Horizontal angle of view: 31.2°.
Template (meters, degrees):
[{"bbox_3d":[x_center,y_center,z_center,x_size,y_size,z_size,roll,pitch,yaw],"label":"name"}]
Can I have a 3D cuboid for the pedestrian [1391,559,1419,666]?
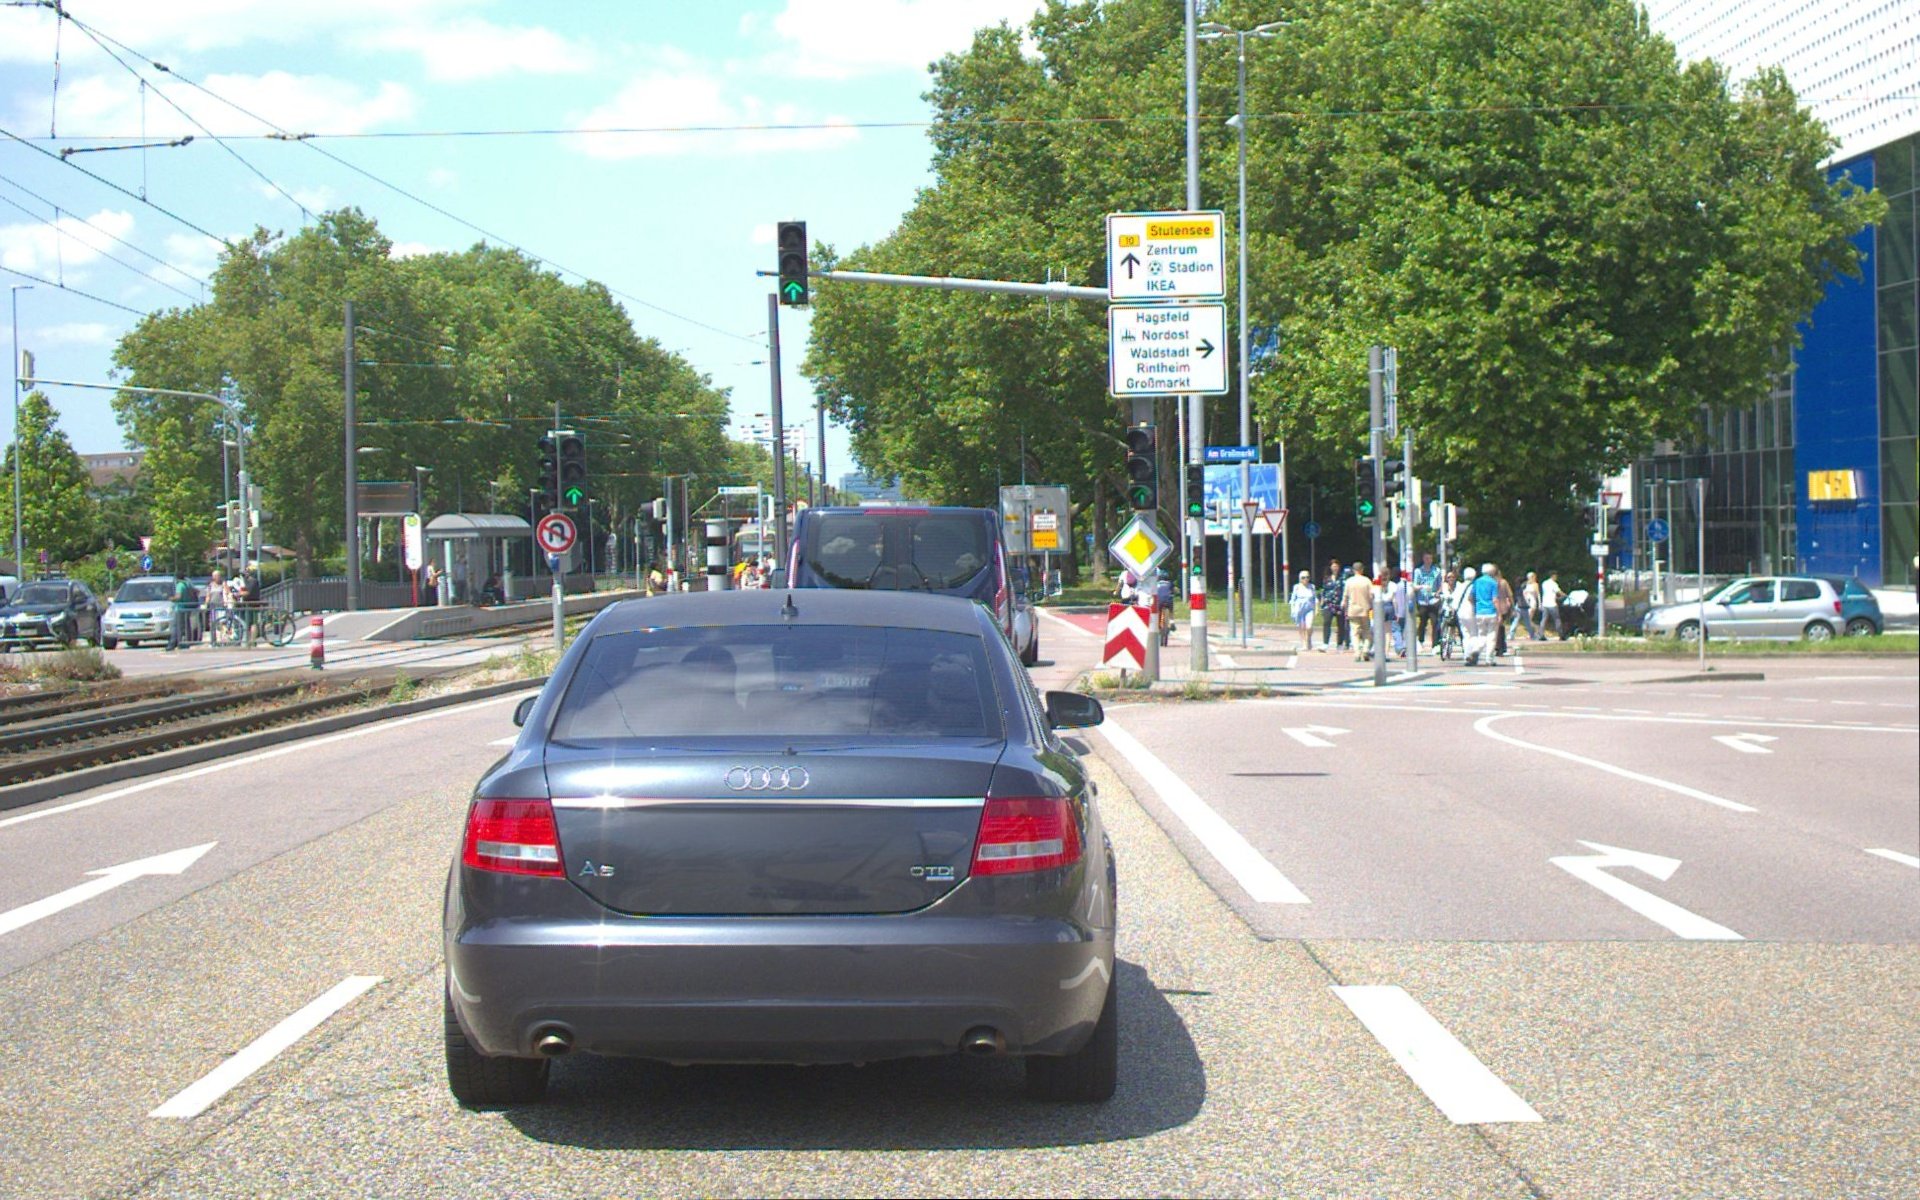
[{"bbox_3d":[6.839,0.186,52.799,0.381,1.629,0.377,0,0,3],"label":"pedestrian"}]

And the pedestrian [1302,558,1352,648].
[{"bbox_3d":[6.712,0.058,62.908,0.714,1.629,0.706,1,1,25],"label":"pedestrian"}]

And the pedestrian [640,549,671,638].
[{"bbox_3d":[-6.821,-0.146,77.037,0.685,2.007,0.573,0,0,-4],"label":"pedestrian"}]

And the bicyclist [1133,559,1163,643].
[{"bbox_3d":[3.786,0.015,69.330,0.528,1.670,1.088,0,0,0],"label":"bicyclist"}]

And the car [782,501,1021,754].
[{"bbox_3d":[-0.475,0.196,28.396,1.836,1.943,4.000,0,0,-1],"label":"car"}]

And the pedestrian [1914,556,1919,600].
[{"bbox_3d":[28.701,-0.656,102.783,0.288,1.338,0.266,0,0,0],"label":"pedestrian"}]

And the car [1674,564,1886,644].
[{"bbox_3d":[16.363,0.068,68.718,3.789,1.481,2.000,1,1,3],"label":"car"}]

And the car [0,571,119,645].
[{"bbox_3d":[-21.684,0.176,82.284,1.822,1.664,4.461,1,1,2],"label":"car"}]

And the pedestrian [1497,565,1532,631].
[{"bbox_3d":[13.077,-0.042,81.046,0.705,1.539,0.677,1,1,19],"label":"pedestrian"}]

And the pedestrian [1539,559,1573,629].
[{"bbox_3d":[14.000,-0.153,80.728,0.705,1.629,0.611,1,1,19],"label":"pedestrian"}]

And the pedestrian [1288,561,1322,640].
[{"bbox_3d":[6.614,0.008,65.879,0.494,1.514,0.706,1,1,17],"label":"pedestrian"}]

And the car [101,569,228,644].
[{"bbox_3d":[-18.826,0.134,81.507,1.822,1.664,4.461,1,1,2],"label":"car"}]

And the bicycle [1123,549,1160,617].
[{"bbox_3d":[4.136,-0.399,78.469,0.688,1.514,2.751,0,1,0],"label":"bicycle"}]

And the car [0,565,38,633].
[{"bbox_3d":[-24.923,-0.036,87.159,1.822,1.664,4.461,1,1,1],"label":"car"}]

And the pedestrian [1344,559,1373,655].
[{"bbox_3d":[6.854,0.118,59.113,0.445,1.629,0.430,0,0,3],"label":"pedestrian"}]

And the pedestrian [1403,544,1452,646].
[{"bbox_3d":[8.548,-0.097,62.867,0.685,1.840,0.706,1,1,25],"label":"pedestrian"}]

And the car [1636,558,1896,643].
[{"bbox_3d":[15.294,0.003,65.432,4.498,1.481,2.000,1,1,3],"label":"car"}]

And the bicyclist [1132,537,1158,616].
[{"bbox_3d":[4.220,-0.540,78.272,0.528,1.783,1.088,0,0,0],"label":"bicyclist"}]

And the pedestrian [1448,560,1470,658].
[{"bbox_3d":[8.309,0.147,57.257,0.320,1.629,0.377,0,0,3],"label":"pedestrian"}]

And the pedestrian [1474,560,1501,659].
[{"bbox_3d":[8.724,0.149,56.884,0.398,1.629,0.371,0,0,3],"label":"pedestrian"}]

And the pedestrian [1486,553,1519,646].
[{"bbox_3d":[9.768,-0.009,61.925,0.521,1.664,0.494,0,0,3],"label":"pedestrian"}]

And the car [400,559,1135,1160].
[{"bbox_3d":[-0.484,0.614,10.442,1.792,1.450,4.000,0,1,0],"label":"car"}]

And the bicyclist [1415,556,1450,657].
[{"bbox_3d":[8.252,0.109,60.015,0.529,1.758,0.827,0,0,13],"label":"bicyclist"}]

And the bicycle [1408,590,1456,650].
[{"bbox_3d":[8.237,0.342,59.943,0.660,1.018,1.860,0,1,13],"label":"bicycle"}]

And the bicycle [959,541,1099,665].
[{"bbox_3d":[1.199,0.028,58.076,1.994,2.007,3.999,0,1,6],"label":"bicycle"}]

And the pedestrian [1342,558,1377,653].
[{"bbox_3d":[6.869,0.092,59.109,0.554,1.629,0.433,0,0,3],"label":"pedestrian"}]

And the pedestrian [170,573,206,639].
[{"bbox_3d":[-16.754,0.123,74.612,0.685,1.438,0.573,0,0,-4],"label":"pedestrian"}]

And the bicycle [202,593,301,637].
[{"bbox_3d":[-15.150,0.318,73.590,2.055,0.922,0.753,0,0,-10],"label":"bicycle"}]

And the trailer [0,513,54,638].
[{"bbox_3d":[-28.177,-0.671,94.115,2.767,3.506,15.879,0,1,-1],"label":"trailer"}]

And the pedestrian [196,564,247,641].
[{"bbox_3d":[-16.672,0.054,77.592,0.824,1.714,0.774,0,0,22],"label":"pedestrian"}]

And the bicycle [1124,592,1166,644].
[{"bbox_3d":[3.716,0.352,69.307,0.688,1.002,2.751,0,1,0],"label":"bicycle"}]
